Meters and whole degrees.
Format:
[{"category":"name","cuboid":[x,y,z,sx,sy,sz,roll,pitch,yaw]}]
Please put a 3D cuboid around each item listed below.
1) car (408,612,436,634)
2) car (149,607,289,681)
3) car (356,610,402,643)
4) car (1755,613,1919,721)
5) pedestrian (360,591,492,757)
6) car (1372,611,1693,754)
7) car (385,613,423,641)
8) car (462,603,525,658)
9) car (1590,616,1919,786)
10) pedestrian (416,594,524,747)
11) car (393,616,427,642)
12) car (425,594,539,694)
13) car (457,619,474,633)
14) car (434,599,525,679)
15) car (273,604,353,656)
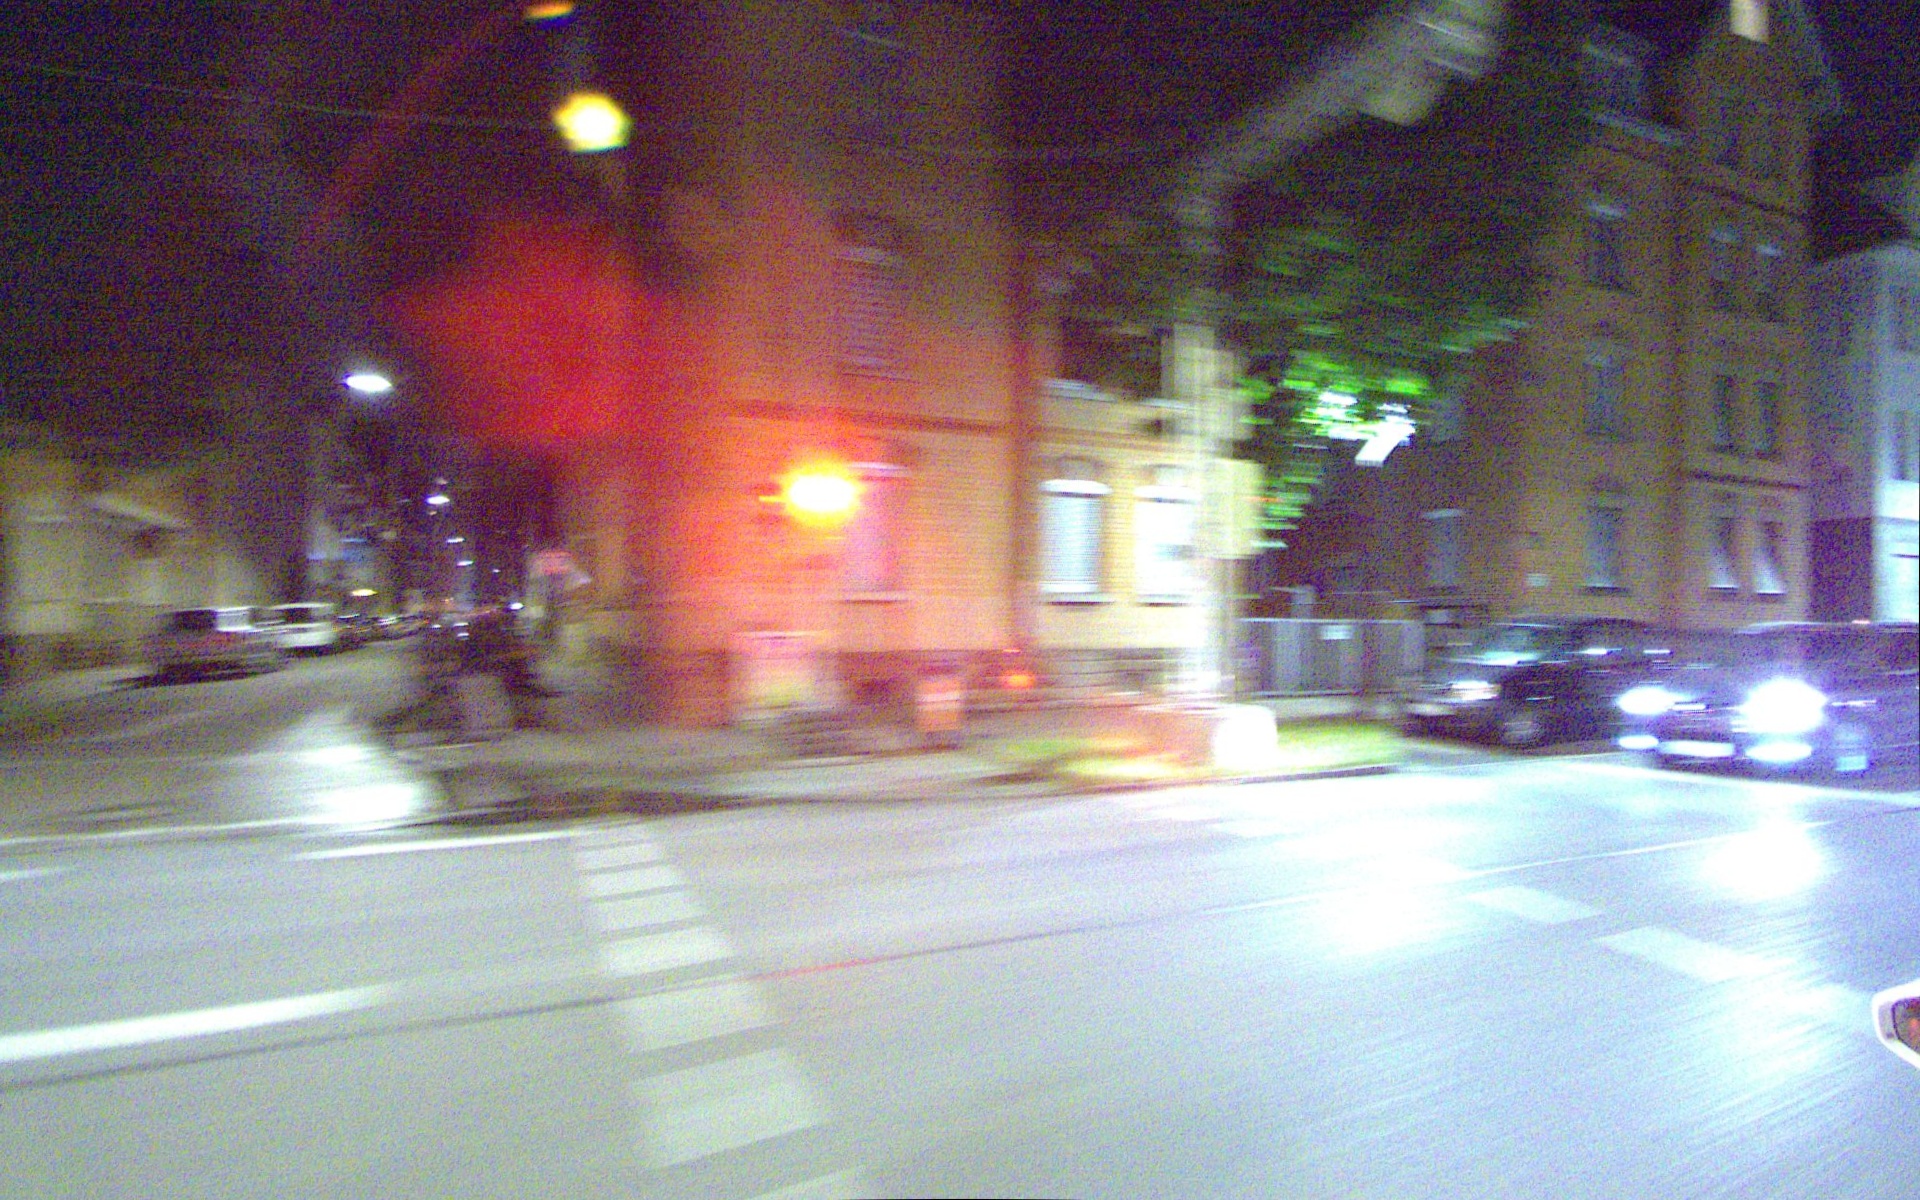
[{"category":"car","cuboid":[-46.492,2.000,86.829,1.875,1.799,3.976,1,-1,-24]},{"category":"car","cuboid":[-17.547,1.012,24.007,1.875,1.619,3.976,1,-1,-24]},{"category":"car","cuboid":[-33.651,1.534,58.284,1.875,1.799,3.976,1,-1,-24]},{"category":"car","cuboid":[15.209,1.006,16.268,4.266,1.511,1.781,0,1,-22]},{"category":"pedestrian","cuboid":[-5.755,0.779,10.883,1.105,1.712,0.710,0,-1,-13]},{"category":"car","cuboid":[7.322,0.967,12.885,3.642,1.511,1.590,-1,2,-19]},{"category":"car","cuboid":[-37.299,1.828,67.469,1.875,1.799,3.976,1,-1,-24]},{"category":"car","cuboid":[-16.231,1.062,35.021,1.875,1.799,3.976,1,-1,-24]},{"category":"car","cuboid":[8.532,0.912,10.157,3.943,1.448,1.712,0,-3,-24]},{"category":"pedestrian","cuboid":[-5.715,0.804,11.768,0.980,1.712,0.710,0,-1,-13]},{"category":"car","cuboid":[-39.776,2.102,72.736,1.875,1.799,3.976,1,-1,-24]},{"category":"car","cuboid":[-9.604,0.851,20.319,1.875,1.799,3.976,1,-1,-24]},{"category":"car","cuboid":[-65.541,3.422,133.149,1.875,1.799,3.976,1,-1,-24]},{"category":"car","cuboid":[-11.781,0.924,24.775,1.875,1.799,3.976,1,-1,-24]},{"category":"car","cuboid":[-23.572,1.084,36.731,1.875,1.799,3.976,1,-1,-24]}]
